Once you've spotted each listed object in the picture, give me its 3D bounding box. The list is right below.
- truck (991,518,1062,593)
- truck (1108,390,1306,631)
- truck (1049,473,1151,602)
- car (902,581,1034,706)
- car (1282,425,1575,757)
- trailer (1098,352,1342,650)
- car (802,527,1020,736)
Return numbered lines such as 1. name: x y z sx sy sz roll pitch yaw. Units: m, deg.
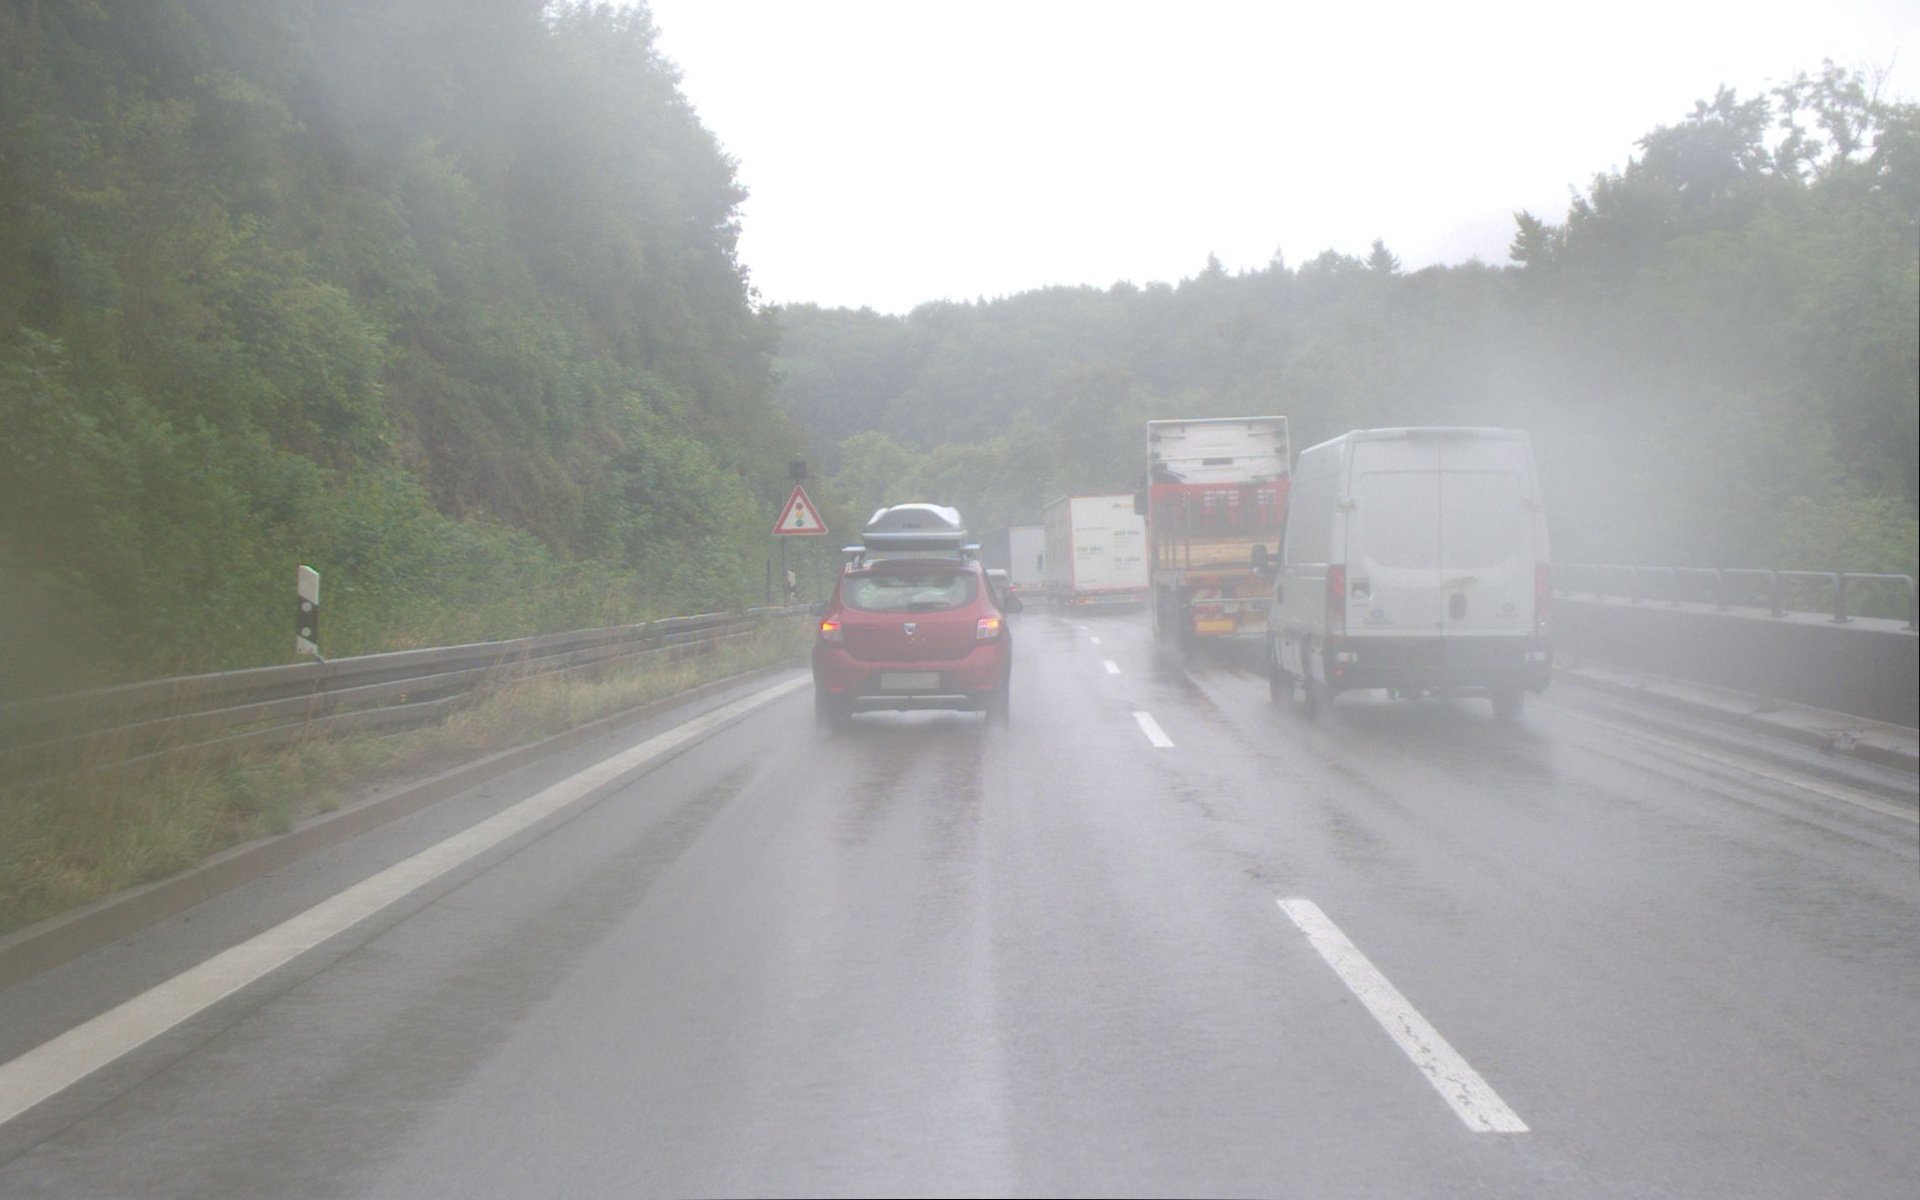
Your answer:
1. truck: 2.945 -2.013 154.643 3.062 3.300 8.071 0 1 0
2. truck: 4.279 -1.534 60.186 3.220 3.964 5.438 -1 1 3
3. truck: 4.697 -2.079 117.336 2.687 4.080 9.315 -3 1 -1
4. car: 0.157 0.634 52.603 1.833 1.709 3.645 -3 1 2
5. car: 4.282 -0.125 32.587 2.206 2.784 7.381 0 1 4
6. trailer: 3.909 -1.433 53.381 3.219 3.985 13.522 -1 1 3
7. car: -0.414 0.250 31.212 1.758 1.679 4.000 -3 1 0
